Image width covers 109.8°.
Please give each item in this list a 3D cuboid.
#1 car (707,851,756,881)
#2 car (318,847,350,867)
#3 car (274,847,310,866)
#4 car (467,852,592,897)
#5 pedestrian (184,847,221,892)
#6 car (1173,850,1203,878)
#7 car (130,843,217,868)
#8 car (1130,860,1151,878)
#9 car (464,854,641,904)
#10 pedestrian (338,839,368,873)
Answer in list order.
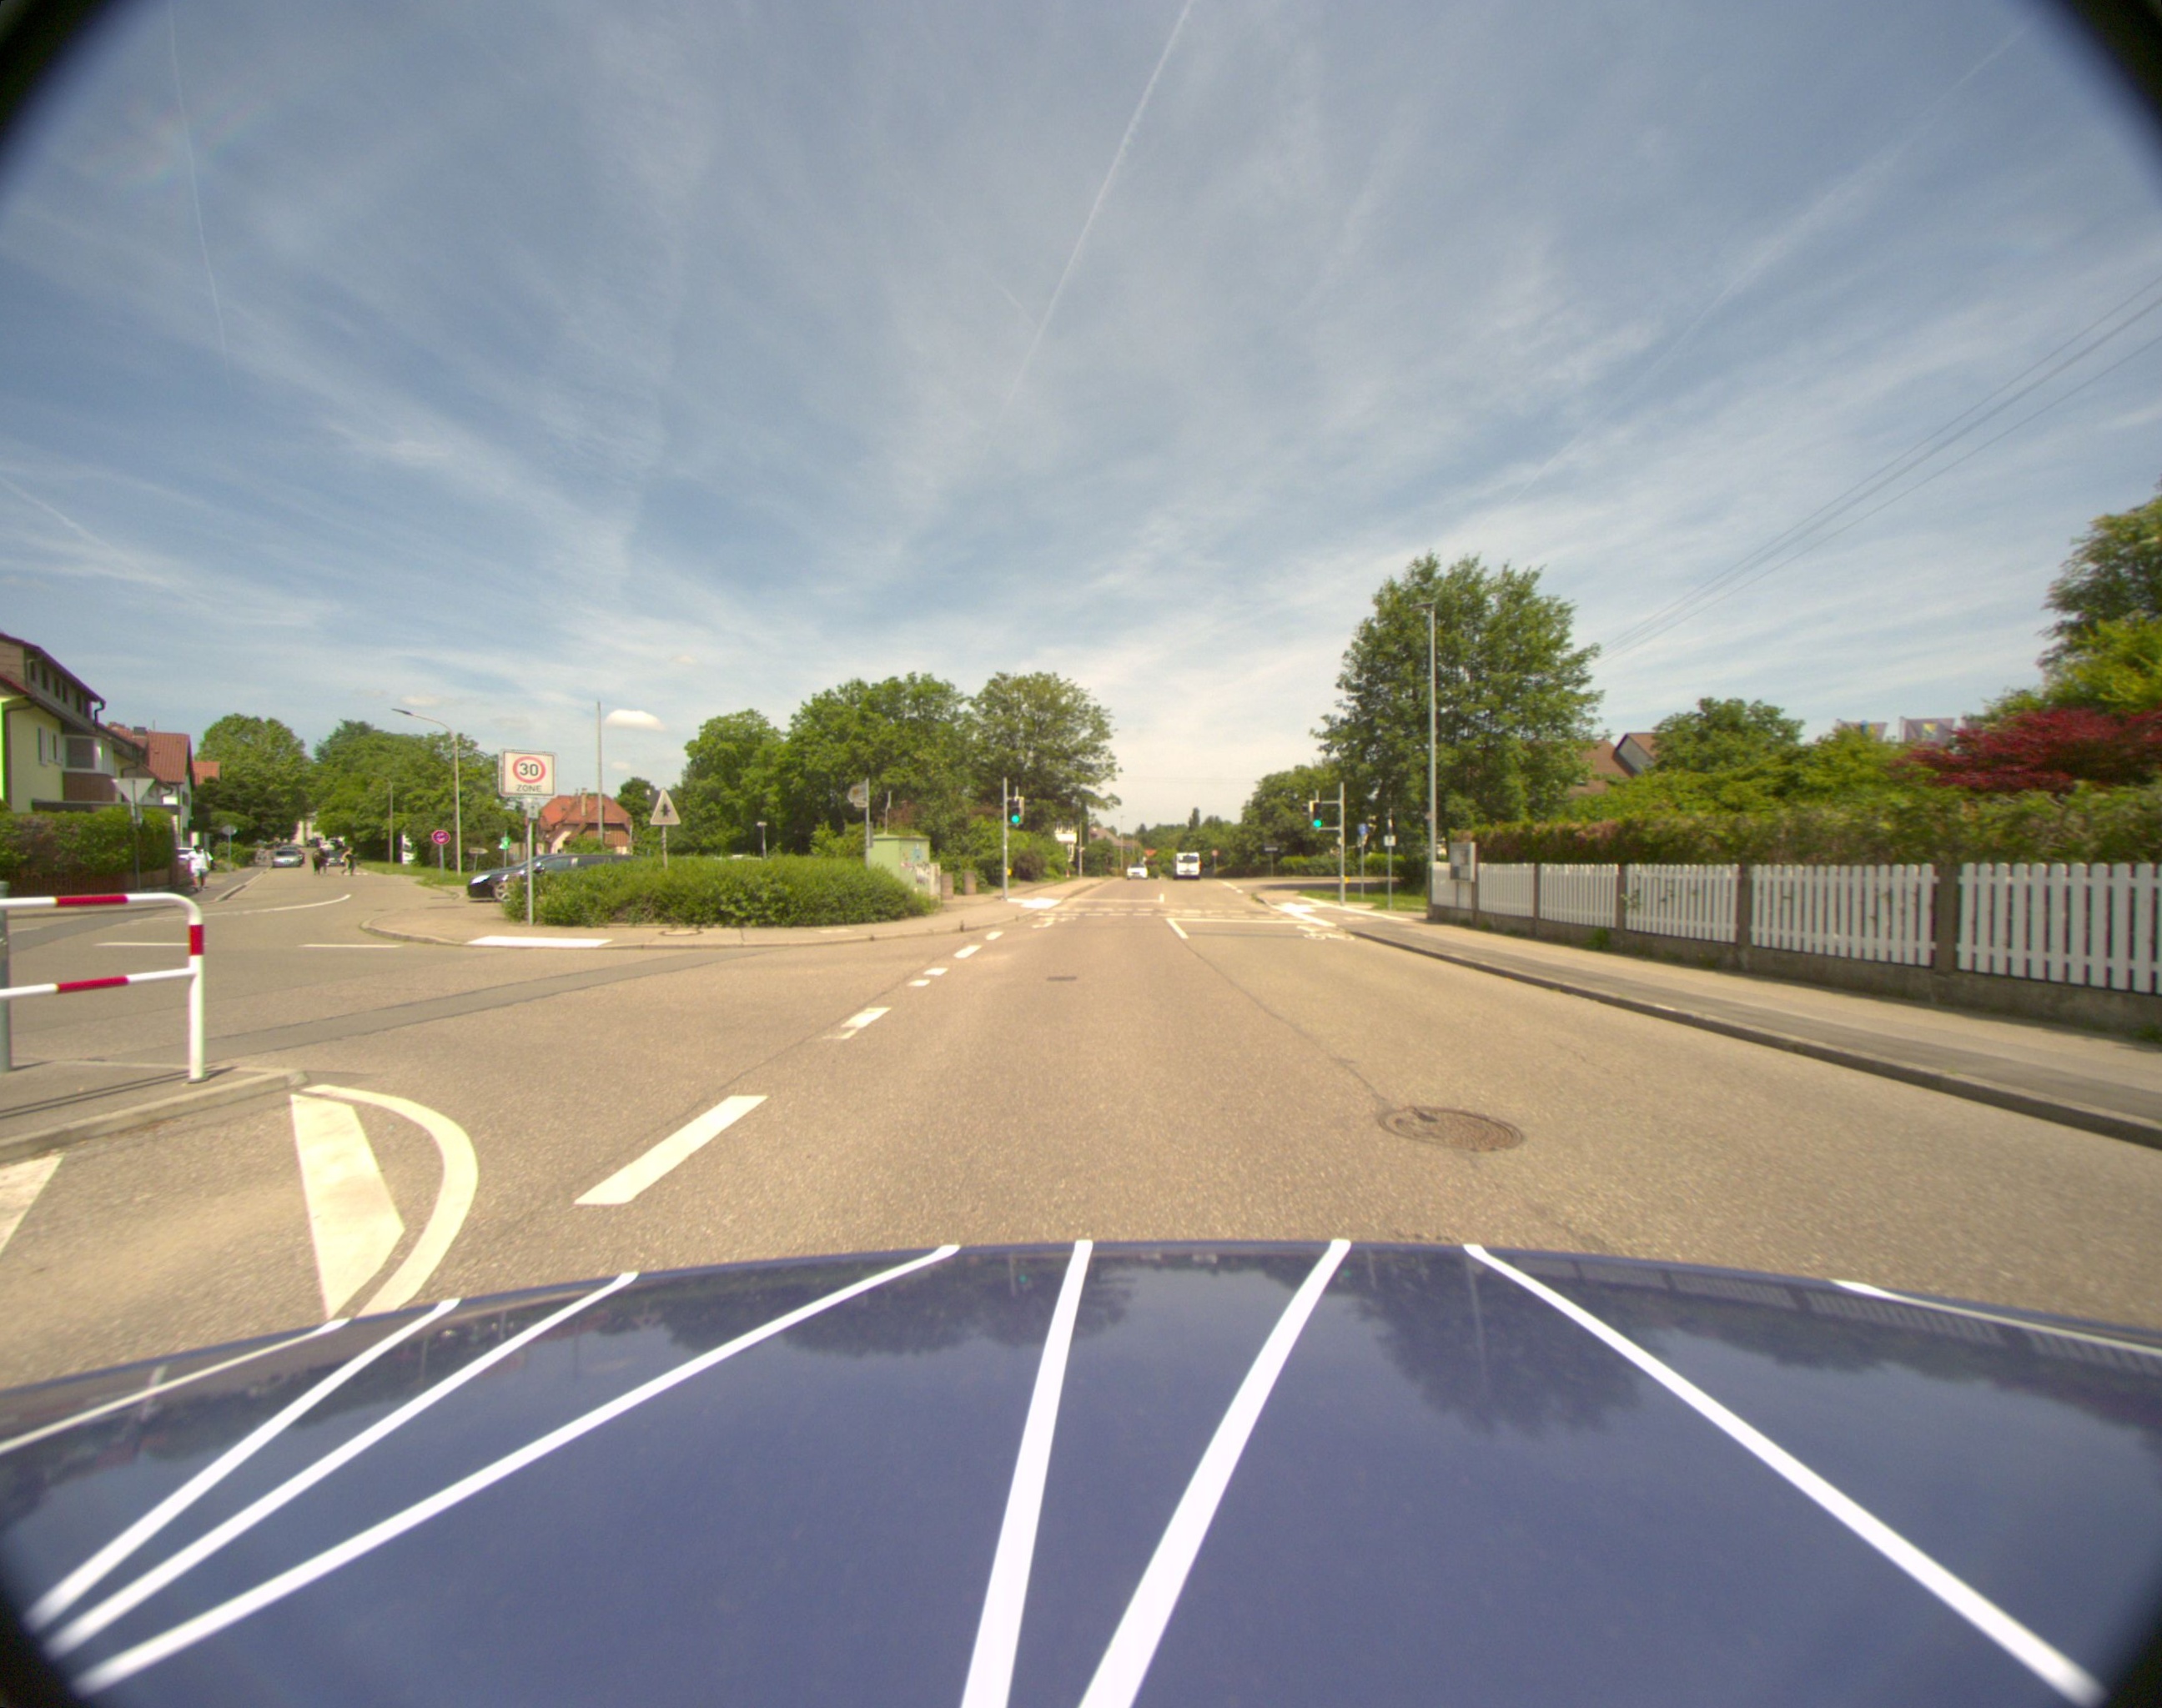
[{"bbox_3d":[-19.728,0.667,42.831,1.610,1.608,3.726,0,0,-39],"label":"car"},{"bbox_3d":[-68.971,0.265,70.168,2.004,1.717,3.988,0,0,-43],"label":"car"},{"bbox_3d":[-70.870,0.216,68.278,2.004,1.717,3.988,0,0,-43],"label":"car"},{"bbox_3d":[-19.518,0.717,26.966,3.441,1.476,1.413,2,0,-43],"label":"car"},{"bbox_3d":[-31.855,0.564,27.548,0.781,1.596,0.797,0,0,-42],"label":"pedestrian"},{"bbox_3d":[8.049,0.731,57.414,1.883,1.953,4.904,1,1,4],"label":"car"},{"bbox_3d":[-65.602,0.116,55.044,1.994,1.767,4.009,1,0,41],"label":"car"},{"bbox_3d":[5.314,1.333,67.955,1.826,1.542,4.002,1,-1,4],"label":"car"},{"bbox_3d":[-15.946,0.710,23.083,4.294,1.390,1.396,1,0,-38],"label":"car"},{"bbox_3d":[-44.245,0.120,46.204,1.106,2.002,1.007,0,0,-31],"label":"pedestrian"}]
